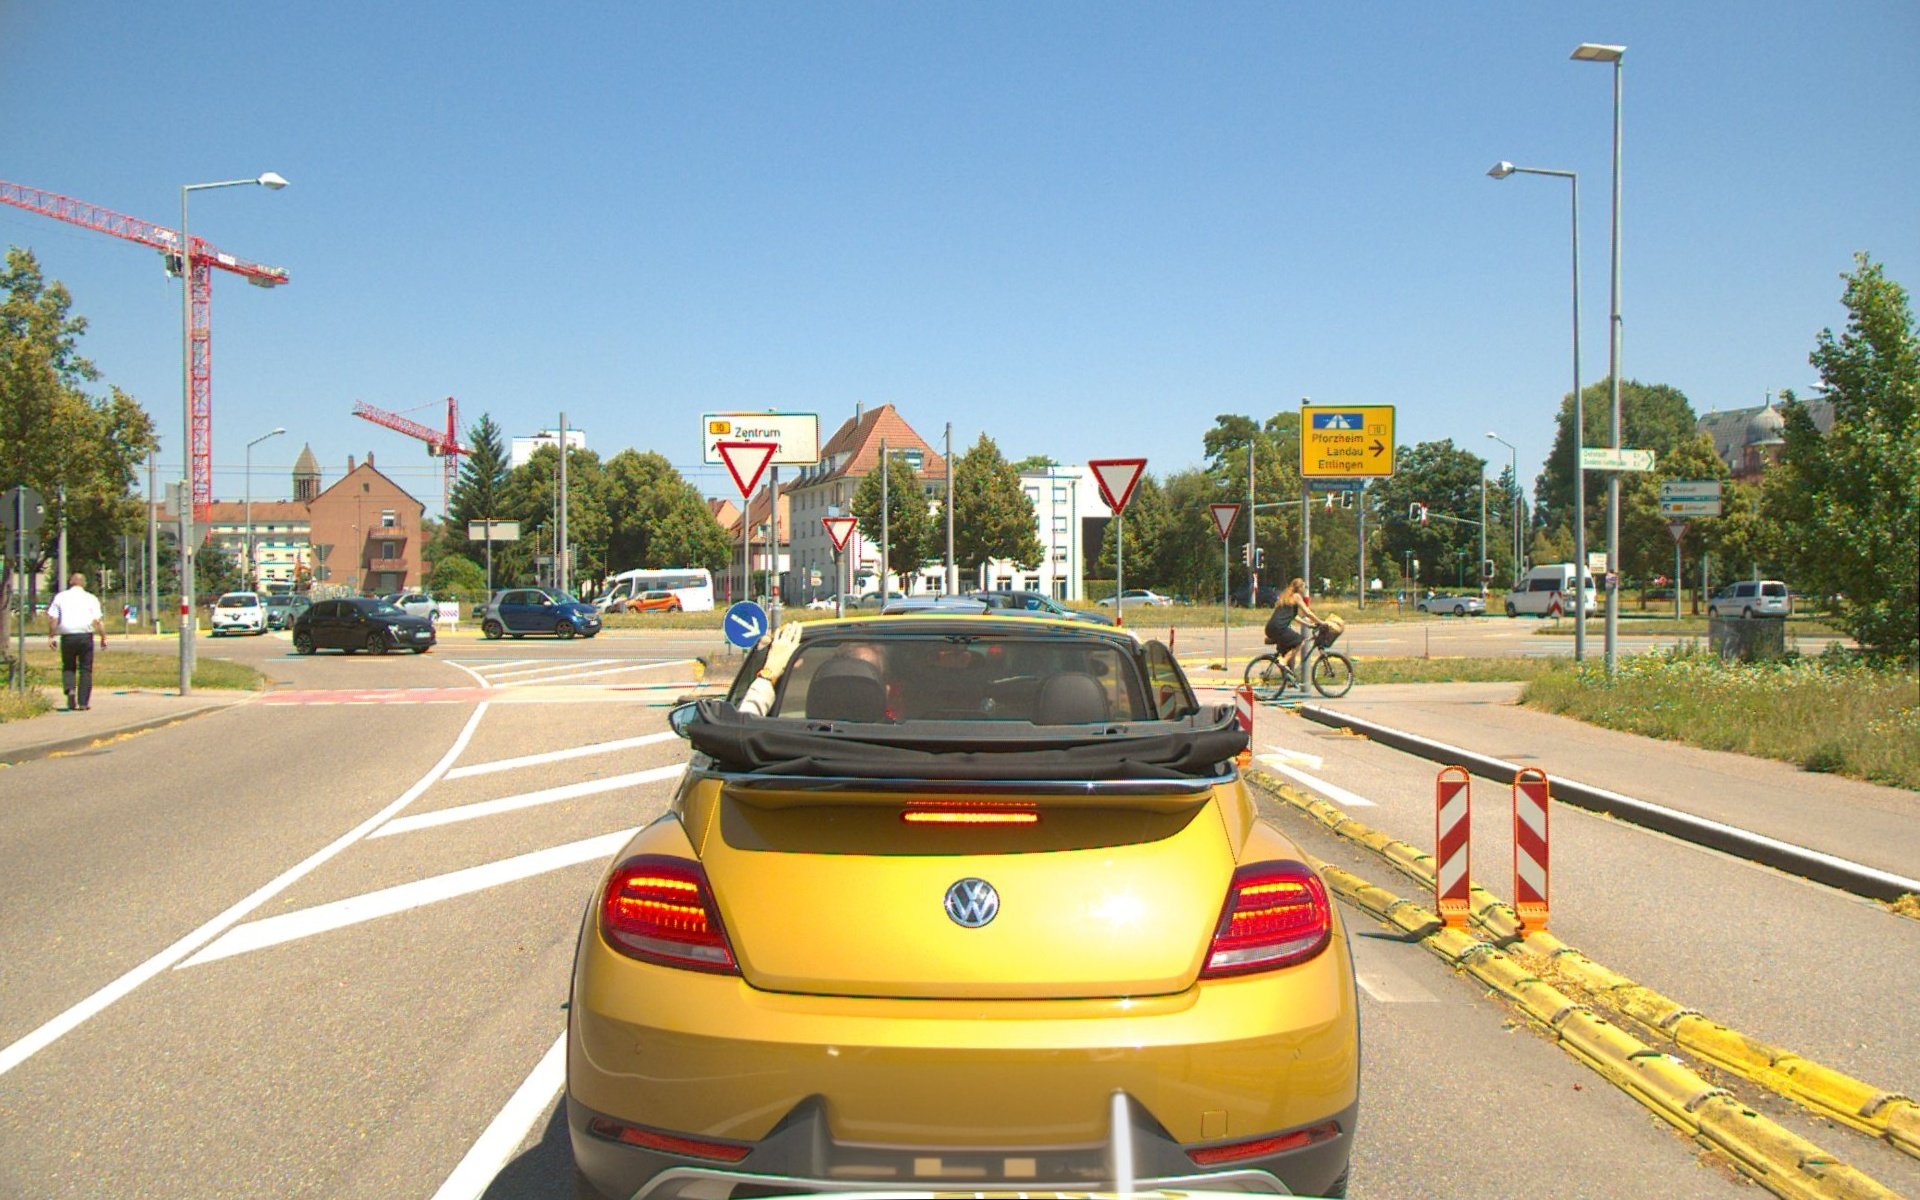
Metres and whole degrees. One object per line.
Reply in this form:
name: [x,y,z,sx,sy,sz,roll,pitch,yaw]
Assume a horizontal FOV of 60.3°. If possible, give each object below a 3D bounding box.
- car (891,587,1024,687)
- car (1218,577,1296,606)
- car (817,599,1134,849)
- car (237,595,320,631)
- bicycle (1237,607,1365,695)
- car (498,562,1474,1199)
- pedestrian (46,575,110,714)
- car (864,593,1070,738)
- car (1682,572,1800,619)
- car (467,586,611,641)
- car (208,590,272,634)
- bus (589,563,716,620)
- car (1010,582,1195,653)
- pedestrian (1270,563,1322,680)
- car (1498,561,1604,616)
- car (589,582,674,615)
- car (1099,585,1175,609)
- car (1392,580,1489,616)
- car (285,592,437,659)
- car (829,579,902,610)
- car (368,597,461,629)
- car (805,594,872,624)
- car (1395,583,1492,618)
car: [-0.070,0.554,27.614,2.023,1.506,4.542,-1,0,-1]
car: [17.929,-0.524,99.846,4.249,1.642,1.872,1,0,39]
car: [0.062,0.716,11.673,1.814,1.389,4.257,-1,0,-1]
car: [-27.960,0.540,67.989,1.711,1.395,4.329,1,0,-2]
bicycle: [5.071,0.754,24.675,1.803,1.253,0.614,-2,-1,10]
car: [0.021,0.709,5.084,1.729,1.507,4.257,1,0,-1]
pedestrian: [-11.852,0.590,22.249,0.627,1.817,0.962,1,-1,-23]
car: [0.042,0.662,18.590,2.023,1.406,4.257,1,0,-1]
car: [36.061,-0.199,76.573,1.955,2.107,5.305,1,0,-16]
car: [-12.875,0.403,50.618,3.902,1.579,1.729,1,0,13]
car: [-26.506,0.432,61.000,1.748,1.554,3.853,-1,0,-18]
bus: [-18.391,-0.483,99.097,7.174,3.228,2.239,1,-1,-30]
car: [3.344,0.414,39.437,4.241,1.579,1.727,1,0,-1]
pedestrian: [5.007,0.316,24.695,0.717,1.721,0.575,1,-1,9]
car: [27.580,-0.510,77.391,1.955,2.439,5.305,1,0,-16]
car: [-18.785,-0.074,94.621,4.386,1.766,1.829,1,0,-32]
car: [10.628,-0.168,99.346,4.231,1.395,1.751,1,0,25]
car: [27.960,-0.143,96.420,1.976,1.996,5.249,1,0,-41]
car: [-15.536,0.623,42.866,3.918,1.579,1.723,1,3,34]
car: [-5.707,-0.340,100.655,4.340,1.766,1.848,1,0,-1]
car: [-25.985,0.622,78.946,1.693,1.427,4.267,1,0,26]
car: [-7.660,0.569,104.114,3.926,1.803,1.777,1,0,-19]
car: [28.187,0.026,96.543,1.974,1.996,5.255,1,0,-38]
